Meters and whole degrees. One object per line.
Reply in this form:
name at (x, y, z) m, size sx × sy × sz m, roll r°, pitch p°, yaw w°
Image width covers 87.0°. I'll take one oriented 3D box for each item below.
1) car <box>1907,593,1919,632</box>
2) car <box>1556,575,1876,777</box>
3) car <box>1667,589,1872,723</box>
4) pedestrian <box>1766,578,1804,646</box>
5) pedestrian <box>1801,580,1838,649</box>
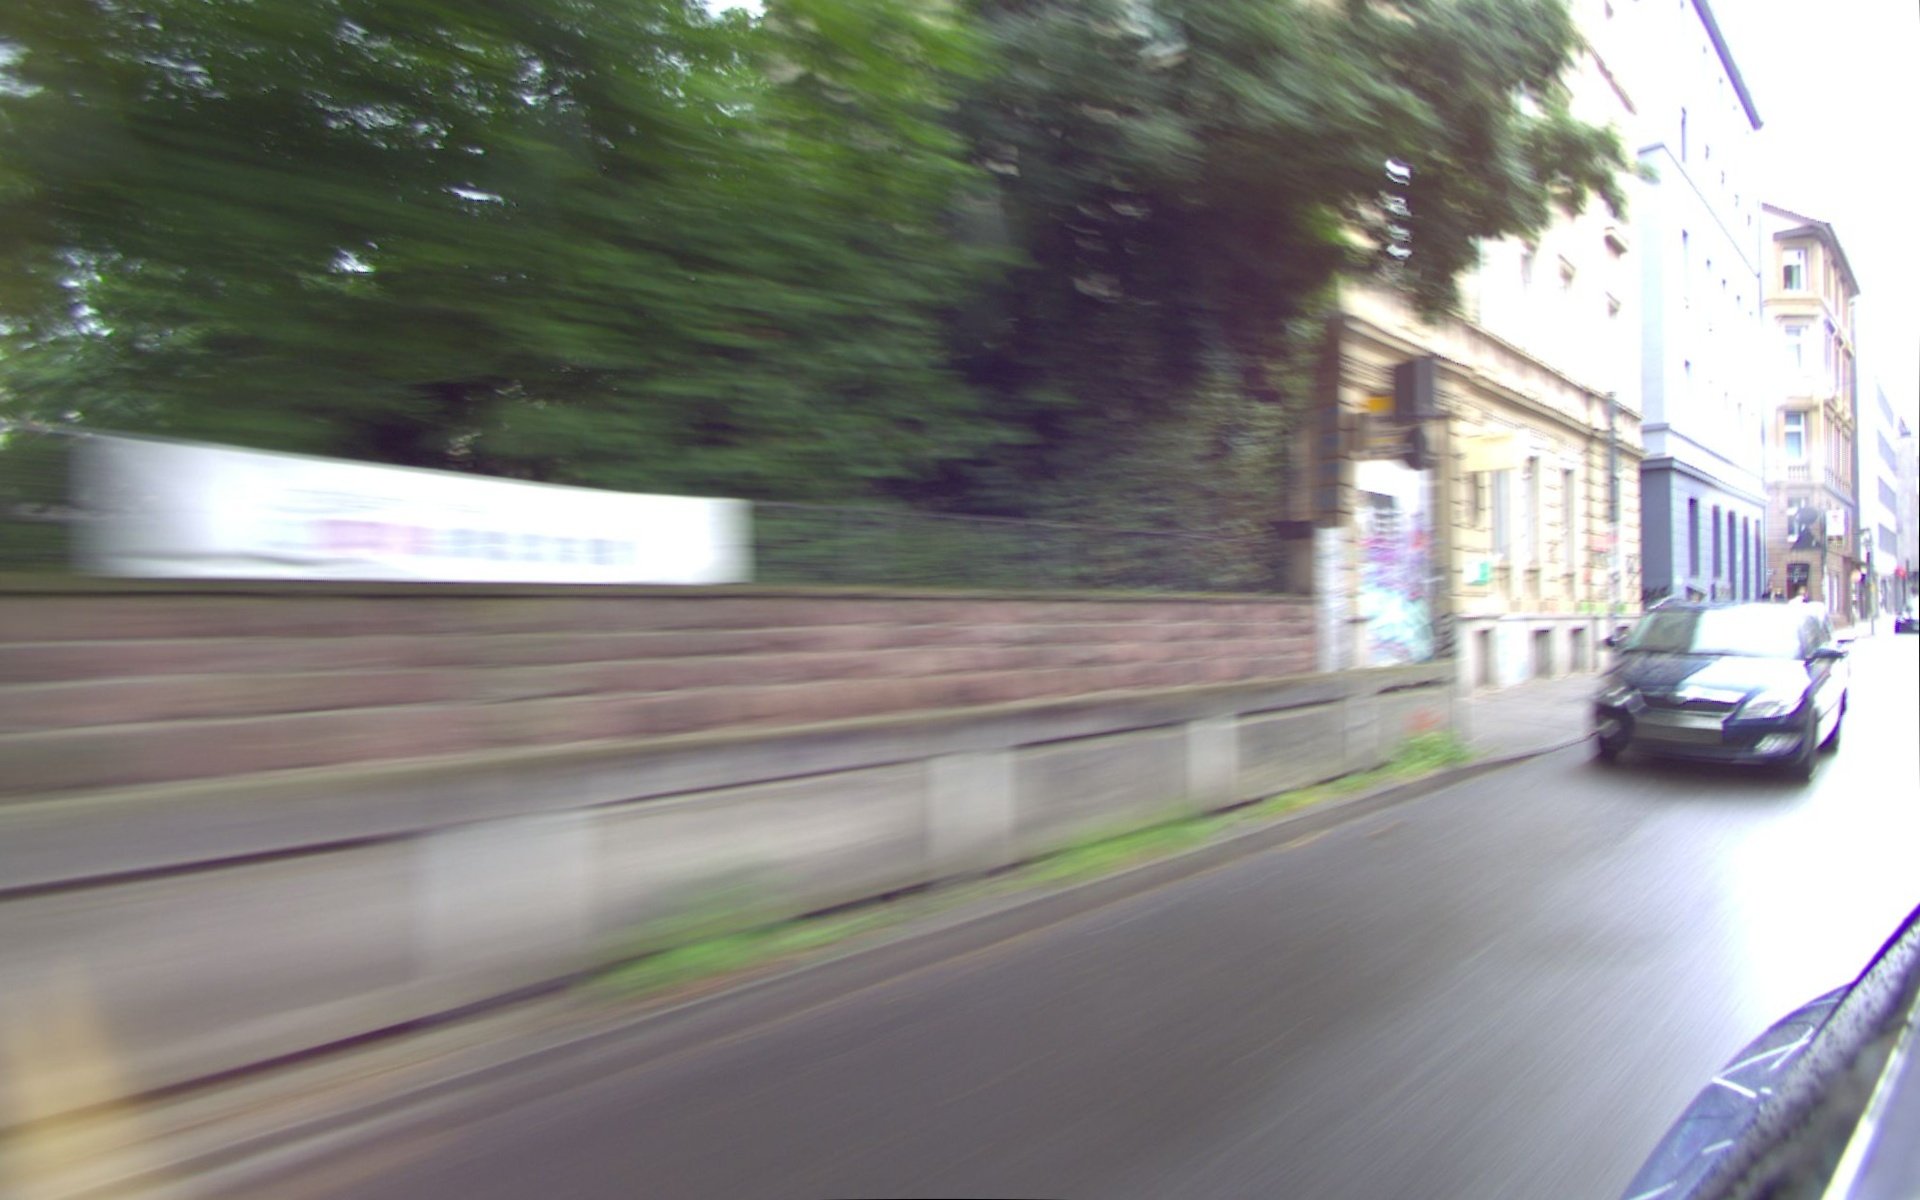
car at (43.903, 0.561, 45.268) m, size 4.055 × 1.705 × 1.995 m, roll 0°, pitch -1°, yaw -43°
car at (7.490, 0.600, 9.861) m, size 4.173 × 1.549 × 1.785 m, roll 0°, pitch -1°, yaw -43°
car at (11.202, 0.670, 13.893) m, size 1.755 × 1.549 × 4.263 m, roll -1°, pitch -1°, yaw 45°
pedestrian at (23.922, 0.345, 29.344) m, size 0.763 × 1.938 × 0.578 m, roll -2°, pitch -2°, yaw 45°
pedestrian at (24.466, 0.413, 28.811) m, size 0.714 × 1.915 × 0.590 m, roll -2°, pitch -2°, yaw 45°
